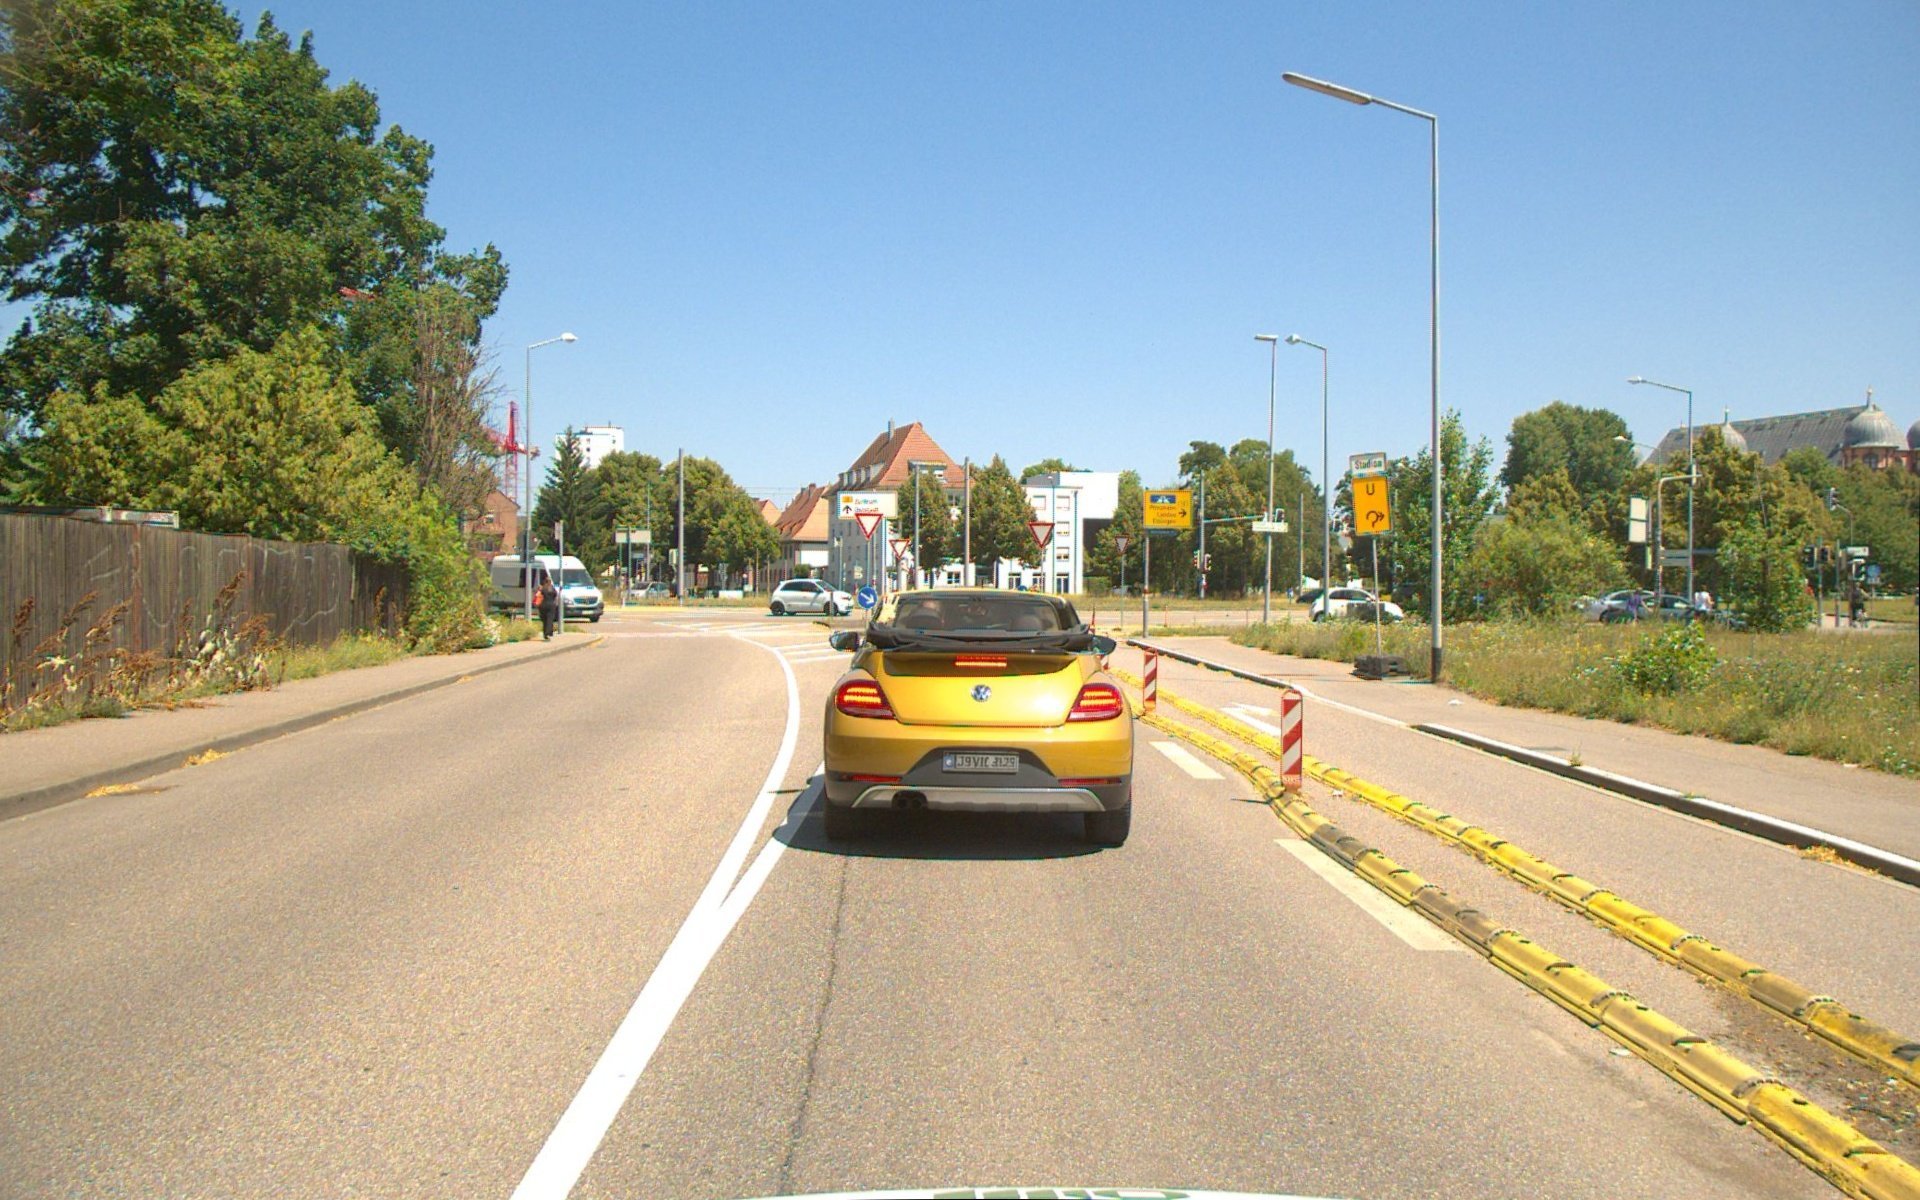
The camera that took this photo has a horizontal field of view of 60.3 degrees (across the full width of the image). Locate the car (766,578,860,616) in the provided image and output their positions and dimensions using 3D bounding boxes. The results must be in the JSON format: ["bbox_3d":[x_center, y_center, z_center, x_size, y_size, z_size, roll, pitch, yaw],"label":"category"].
[{"bbox_3d":[-6.275,-0.134,70.554,3.618,1.598,1.683,0,0,18],"label":"car"}]

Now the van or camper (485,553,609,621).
[{"bbox_3d":[-16.620,-0.525,66.345,2.060,2.622,6.580,0,1,-41],"label":"van or camper"}]

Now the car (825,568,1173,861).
[{"bbox_3d":[0.128,0.556,10.220,1.754,1.462,3.812,0,0,-2],"label":"car"}]

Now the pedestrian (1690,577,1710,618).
[{"bbox_3d":[24.391,-0.088,54.504,0.535,1.334,0.603,0,0,31],"label":"pedestrian"}]

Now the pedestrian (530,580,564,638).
[{"bbox_3d":[-10.603,0.217,42.496,0.708,1.479,0.817,0,0,-5],"label":"pedestrian"}]

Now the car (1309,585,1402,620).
[{"bbox_3d":[14.831,0.084,62.039,3.364,1.298,1.203,0,0,15],"label":"car"}]

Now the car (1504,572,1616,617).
[{"bbox_3d":[24.034,-0.224,66.378,3.986,1.774,1.568,0,0,7],"label":"car"}]

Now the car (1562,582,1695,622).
[{"bbox_3d":[23.814,0.054,59.064,4.347,1.381,1.538,0,0,19],"label":"car"}]

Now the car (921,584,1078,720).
[{"bbox_3d":[0.408,0.547,19.852,1.691,1.468,4.000,0,0,-1],"label":"car"}]

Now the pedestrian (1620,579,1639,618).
[{"bbox_3d":[22.810,-0.047,56.337,0.590,1.334,0.547,0,0,20],"label":"pedestrian"}]
